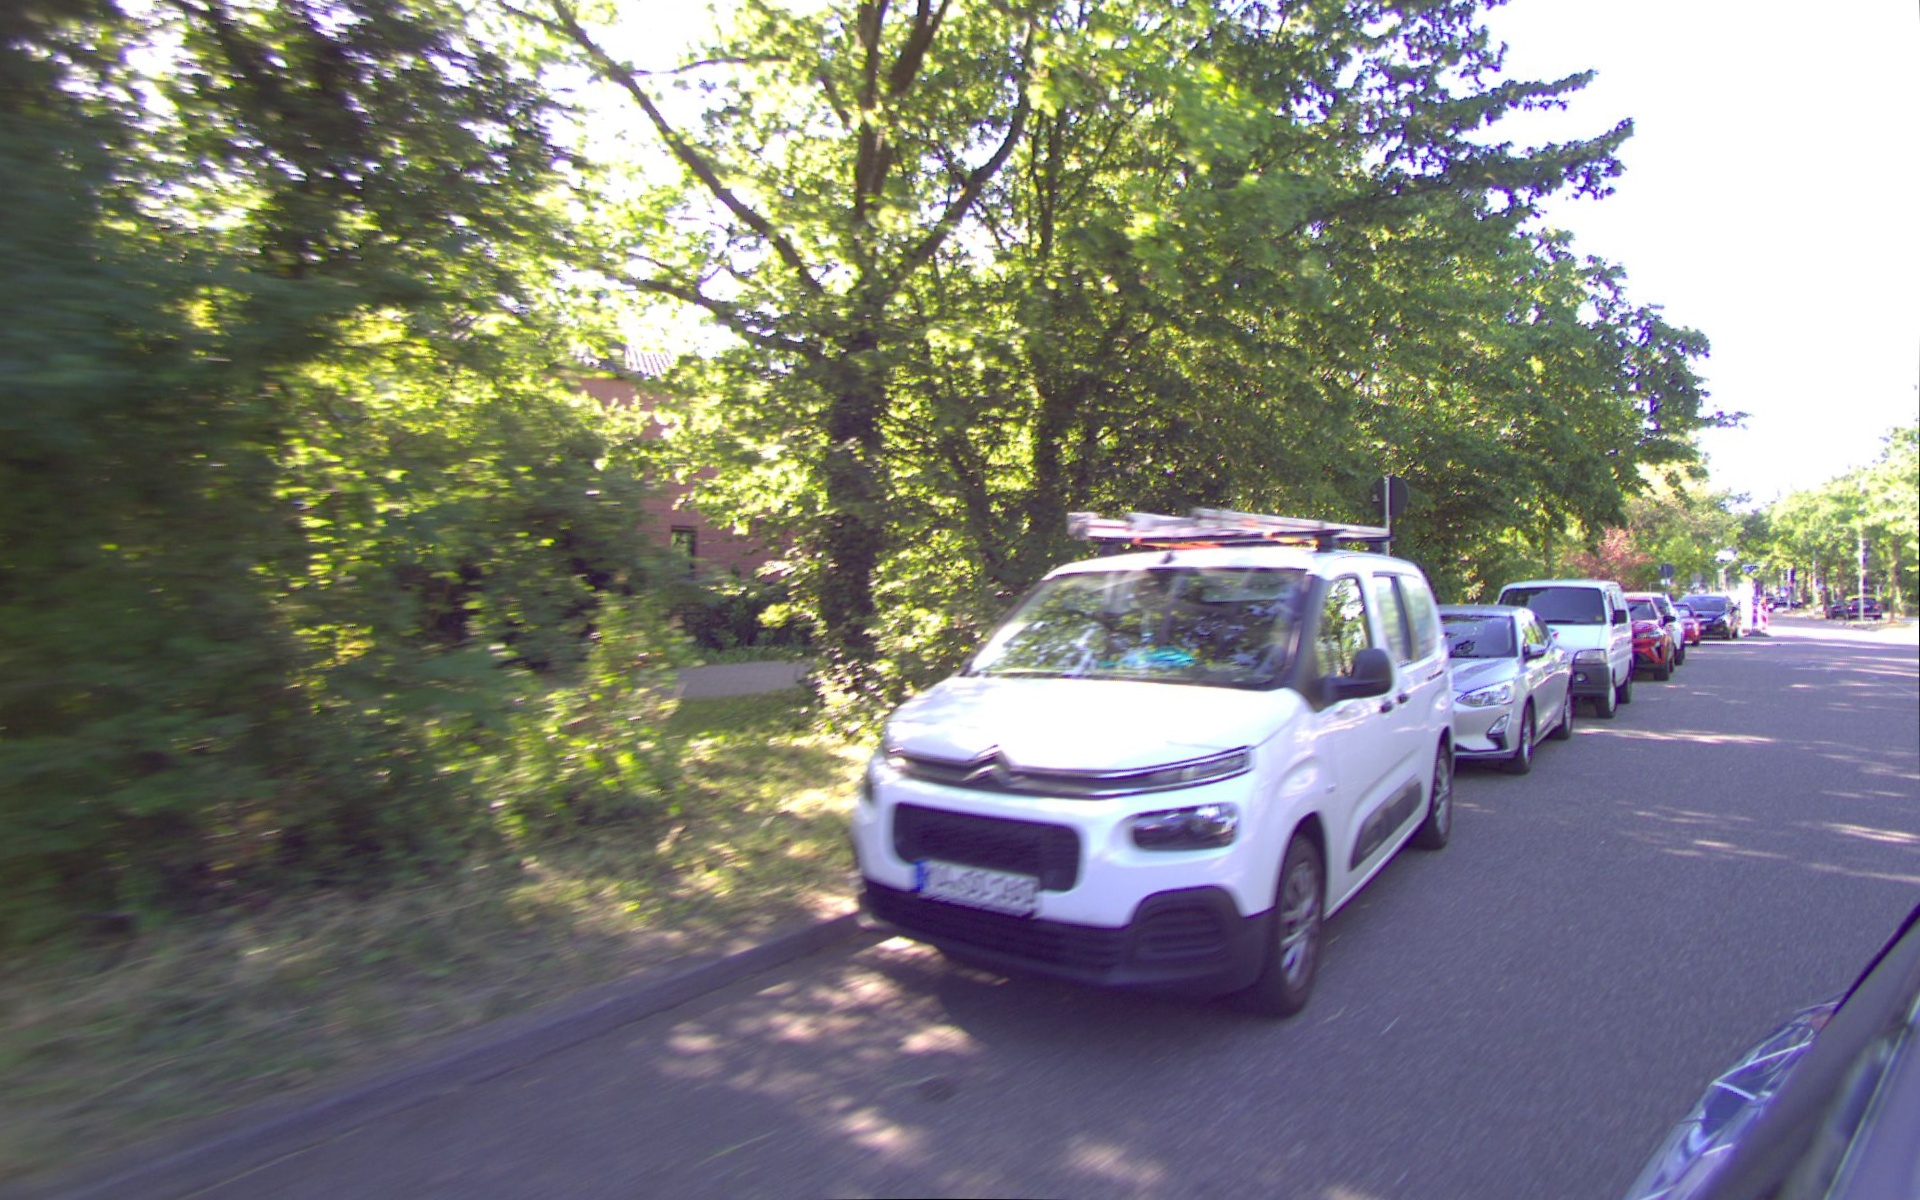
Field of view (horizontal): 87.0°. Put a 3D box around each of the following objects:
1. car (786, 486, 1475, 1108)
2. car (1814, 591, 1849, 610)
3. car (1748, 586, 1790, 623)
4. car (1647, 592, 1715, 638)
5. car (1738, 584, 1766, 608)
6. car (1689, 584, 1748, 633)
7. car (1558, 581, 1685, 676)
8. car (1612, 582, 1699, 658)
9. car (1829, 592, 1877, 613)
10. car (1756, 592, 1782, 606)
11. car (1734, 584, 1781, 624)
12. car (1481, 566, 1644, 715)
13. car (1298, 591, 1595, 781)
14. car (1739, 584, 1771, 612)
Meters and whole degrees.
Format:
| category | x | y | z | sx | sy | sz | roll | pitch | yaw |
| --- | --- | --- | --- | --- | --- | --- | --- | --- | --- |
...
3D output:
| category | x | y | z | sx | sy | sz | roll | pitch | yaw |
| --- | --- | --- | --- | --- | --- | --- | --- | --- | --- |
| car | 1.348 | 0.524 | 5.265 | 1.744 | 1.771 | 4.575 | 0 | 1 | 35 |
| car | 76.903 | 0.000 | 89.380 | 1.988 | 1.603 | 3.949 | 1 | 2 | 36 |
| car | 37.850 | 0.187 | 47.321 | 1.444 | 1.674 | 3.665 | 0 | 0 | 40 |
| car | 23.198 | 0.444 | 32.508 | 1.494 | 1.376 | 3.416 | 0 | 0 | 40 |
| car | 56.897 | -0.275 | 72.697 | 1.416 | 1.674 | 3.853 | 0 | 0 | 40 |
| car | 27.785 | 0.273 | 37.039 | 1.494 | 1.674 | 4.032 | 0 | 0 | 40 |
| car | 12.956 | 0.481 | 19.740 | 1.764 | 1.659 | 3.701 | 0 | 0 | 38 |
| car | 16.617 | 0.419 | 24.116 | 1.493 | 1.659 | 3.701 | 0 | 0 | 38 |
| car | 64.968 | 0.142 | 73.681 | 1.985 | 1.384 | 3.955 | 1 | 2 | 32 |
| car | 85.654 | -0.089 | 107.187 | 1.988 | 1.384 | 3.949 | 1 | 2 | 36 |
| car | 34.305 | 0.147 | 43.491 | 1.444 | 1.674 | 3.665 | 0 | 0 | 40 |
| car | 8.440 | 0.462 | 14.039 | 1.493 | 1.777 | 3.749 | 0 | 0 | 38 |
| car | 5.038 | 0.662 | 10.105 | 1.714 | 1.463 | 4.550 | -1 | -1 | 38 |
| car | 48.829 | -0.143 | 62.153 | 1.416 | 1.674 | 3.853 | 0 | 0 | 40 |
